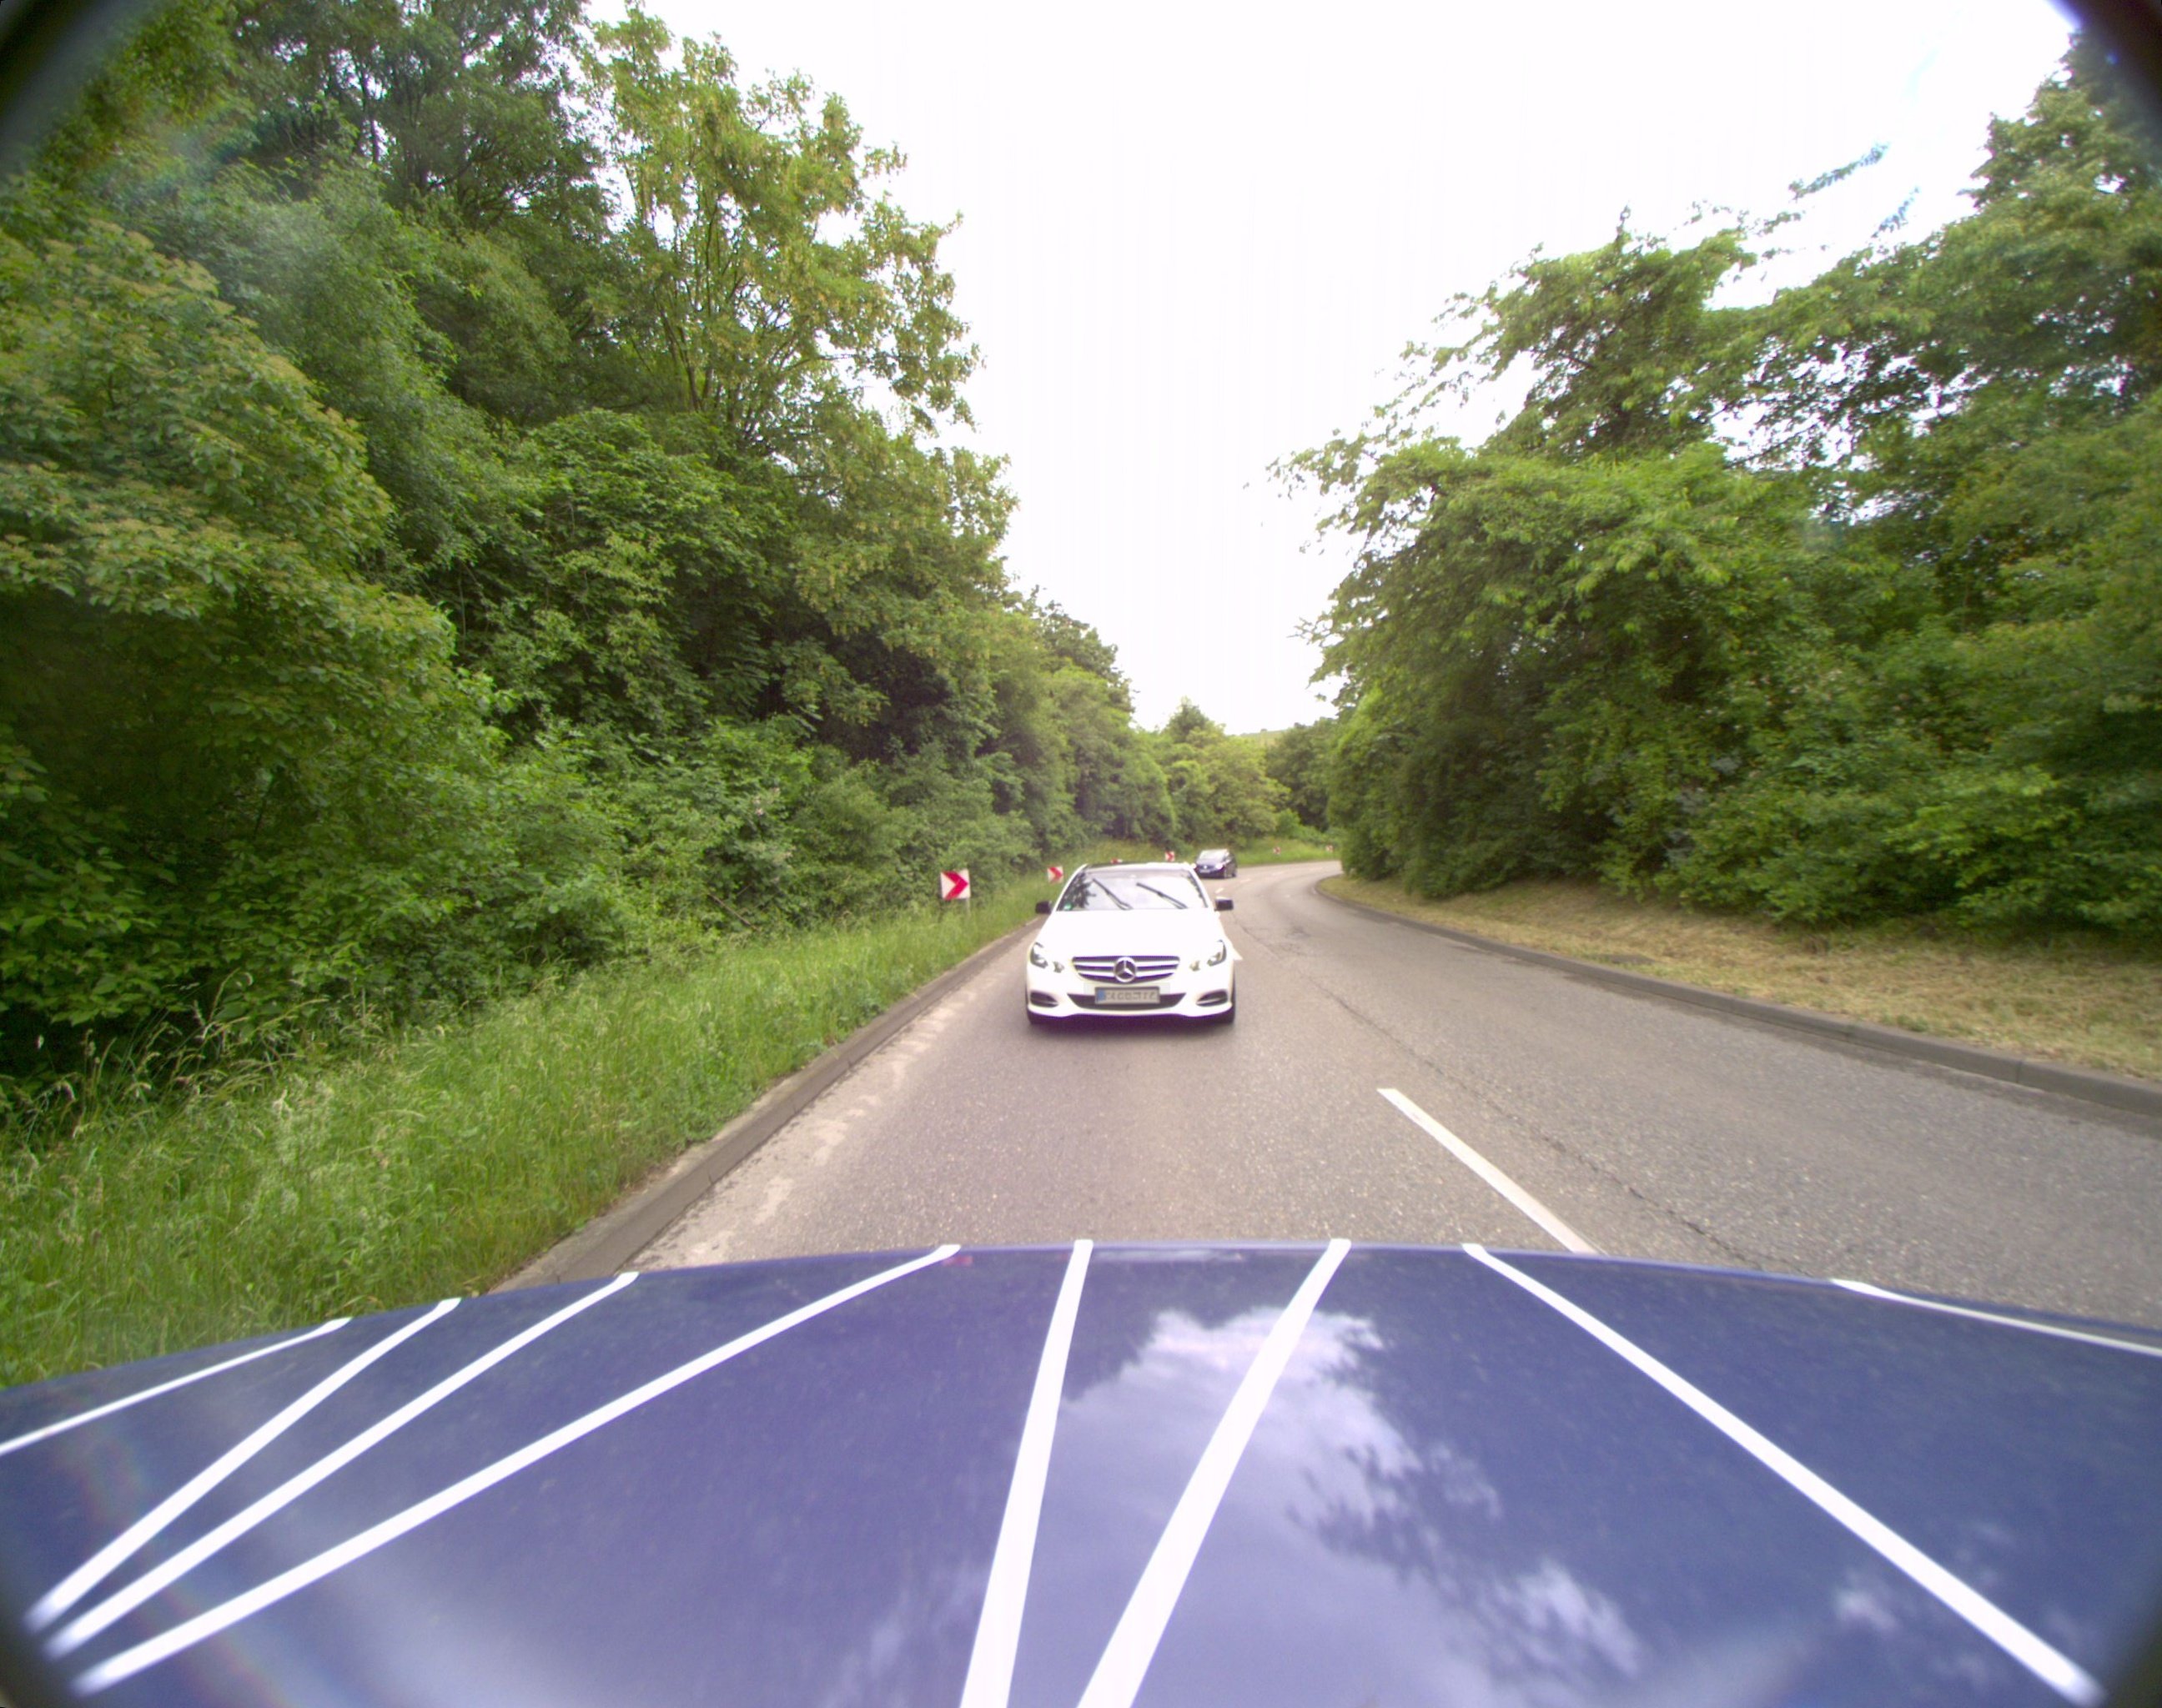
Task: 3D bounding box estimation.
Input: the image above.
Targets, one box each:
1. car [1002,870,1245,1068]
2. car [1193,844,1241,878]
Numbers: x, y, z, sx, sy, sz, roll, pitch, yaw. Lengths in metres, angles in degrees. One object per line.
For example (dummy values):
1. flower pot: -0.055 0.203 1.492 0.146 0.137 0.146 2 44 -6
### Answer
1. car: 0.515 0.957 8.130 1.866 1.423 4.357 -2 0 5
2. car: 7.236 0.319 40.185 1.550 1.635 3.745 3 2 24
